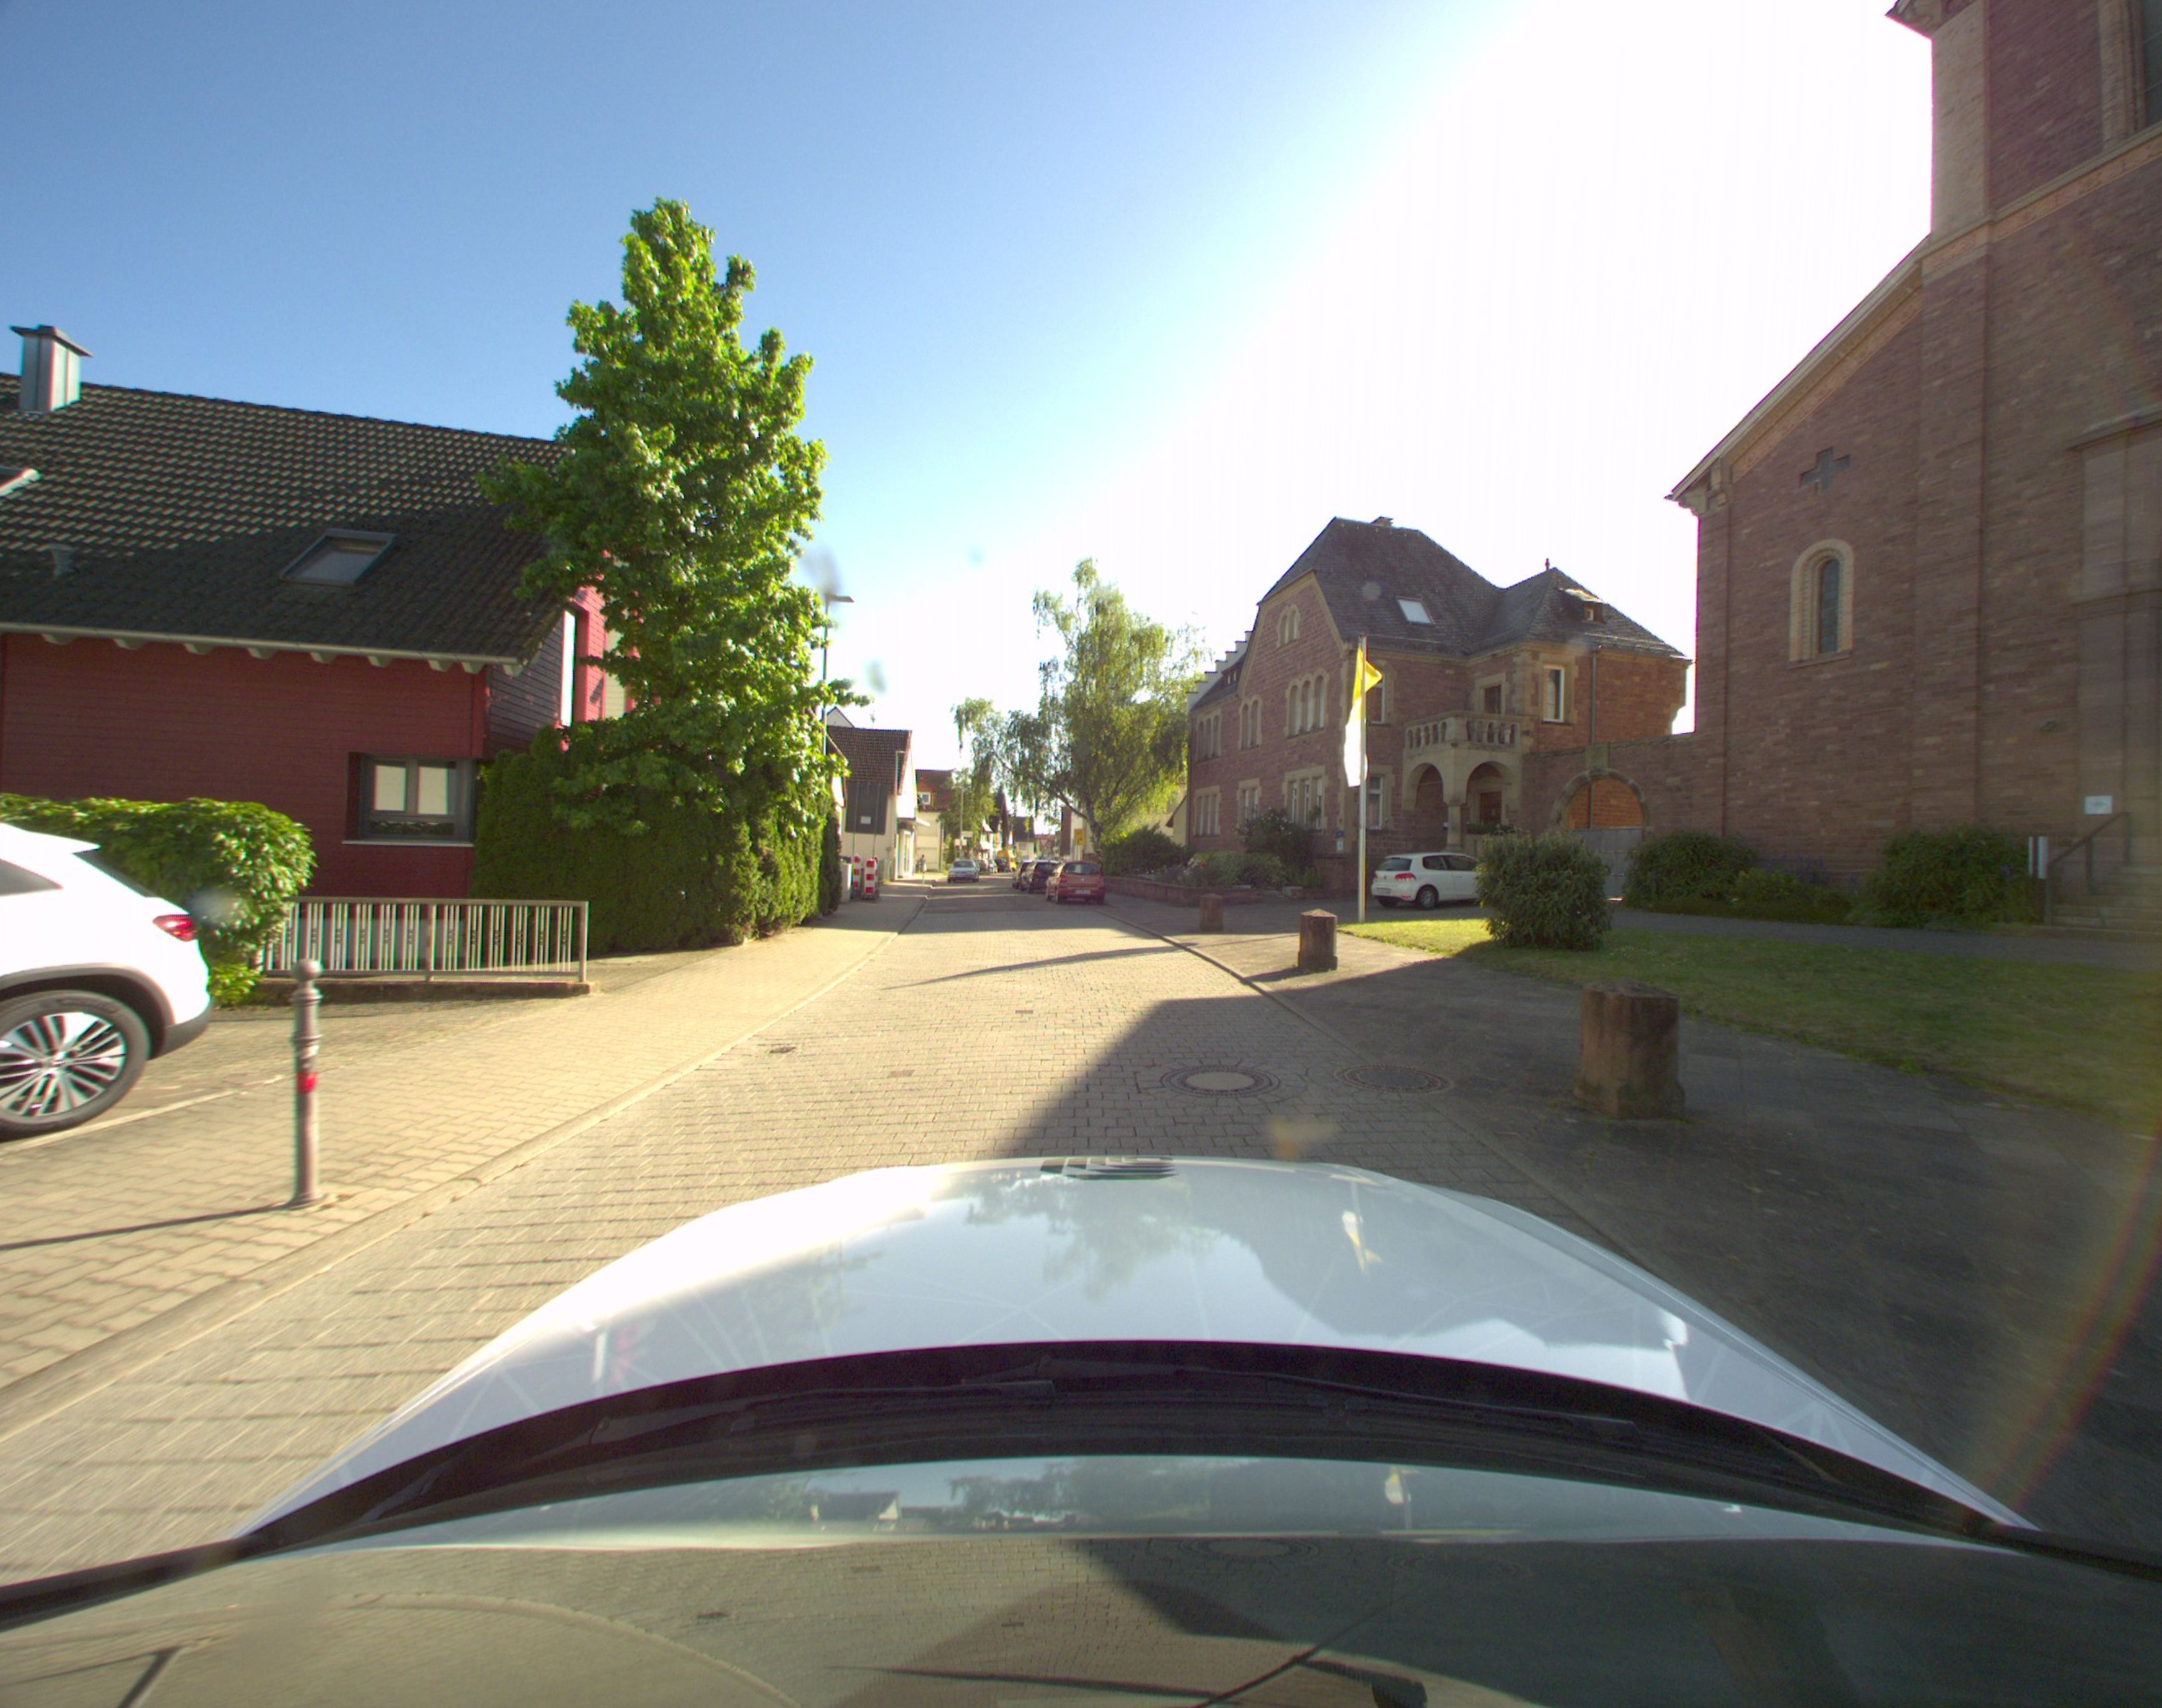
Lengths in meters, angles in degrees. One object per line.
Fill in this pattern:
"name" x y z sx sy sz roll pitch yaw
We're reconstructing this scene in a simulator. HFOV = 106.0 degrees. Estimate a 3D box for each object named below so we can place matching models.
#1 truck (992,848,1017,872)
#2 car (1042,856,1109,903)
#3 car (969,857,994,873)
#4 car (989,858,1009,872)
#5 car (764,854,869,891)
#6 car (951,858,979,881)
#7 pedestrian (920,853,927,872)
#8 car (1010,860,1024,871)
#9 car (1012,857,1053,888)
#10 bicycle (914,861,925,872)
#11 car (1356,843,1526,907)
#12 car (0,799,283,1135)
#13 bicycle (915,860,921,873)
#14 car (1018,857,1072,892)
"truck" -9.585 0.843 102.519 2.259 2.869 5.784 1 -1 2
"car" -0.268 0.844 28.393 1.648 1.479 3.919 2 0 -11
"car" -10.170 1.162 83.725 1.860 1.506 4.109 1 -1 2
"car" -9.754 1.335 97.050 1.800 1.622 3.882 1 -1 2
"car" -11.296 0.772 35.058 4.164 1.462 1.840 -1 0 -14
"car" -7.277 0.953 51.080 1.670 1.402 3.880 0 0 -8
"pedestrian" -13.833 0.759 71.368 0.482 1.693 0.556 2 -3 -3
"car" -8.787 1.617 111.647 1.640 1.433 3.612 2 -1 -1
"car" -2.526 0.897 41.344 1.805 1.436 4.275 2 0 -7
"bicycle" -14.792 1.153 74.508 0.576 1.052 2.035 1 -2 0
"car" 9.815 0.557 22.286 3.907 1.496 1.894 -2 -1 -17
"car" -6.208 0.495 2.925 1.805 1.595 4.459 2 0 11
"bicycle" -14.237 1.095 71.145 0.423 1.052 1.378 1 -2 -6
"car" -1.697 0.872 36.701 1.808 1.436 4.270 2 0 -11
